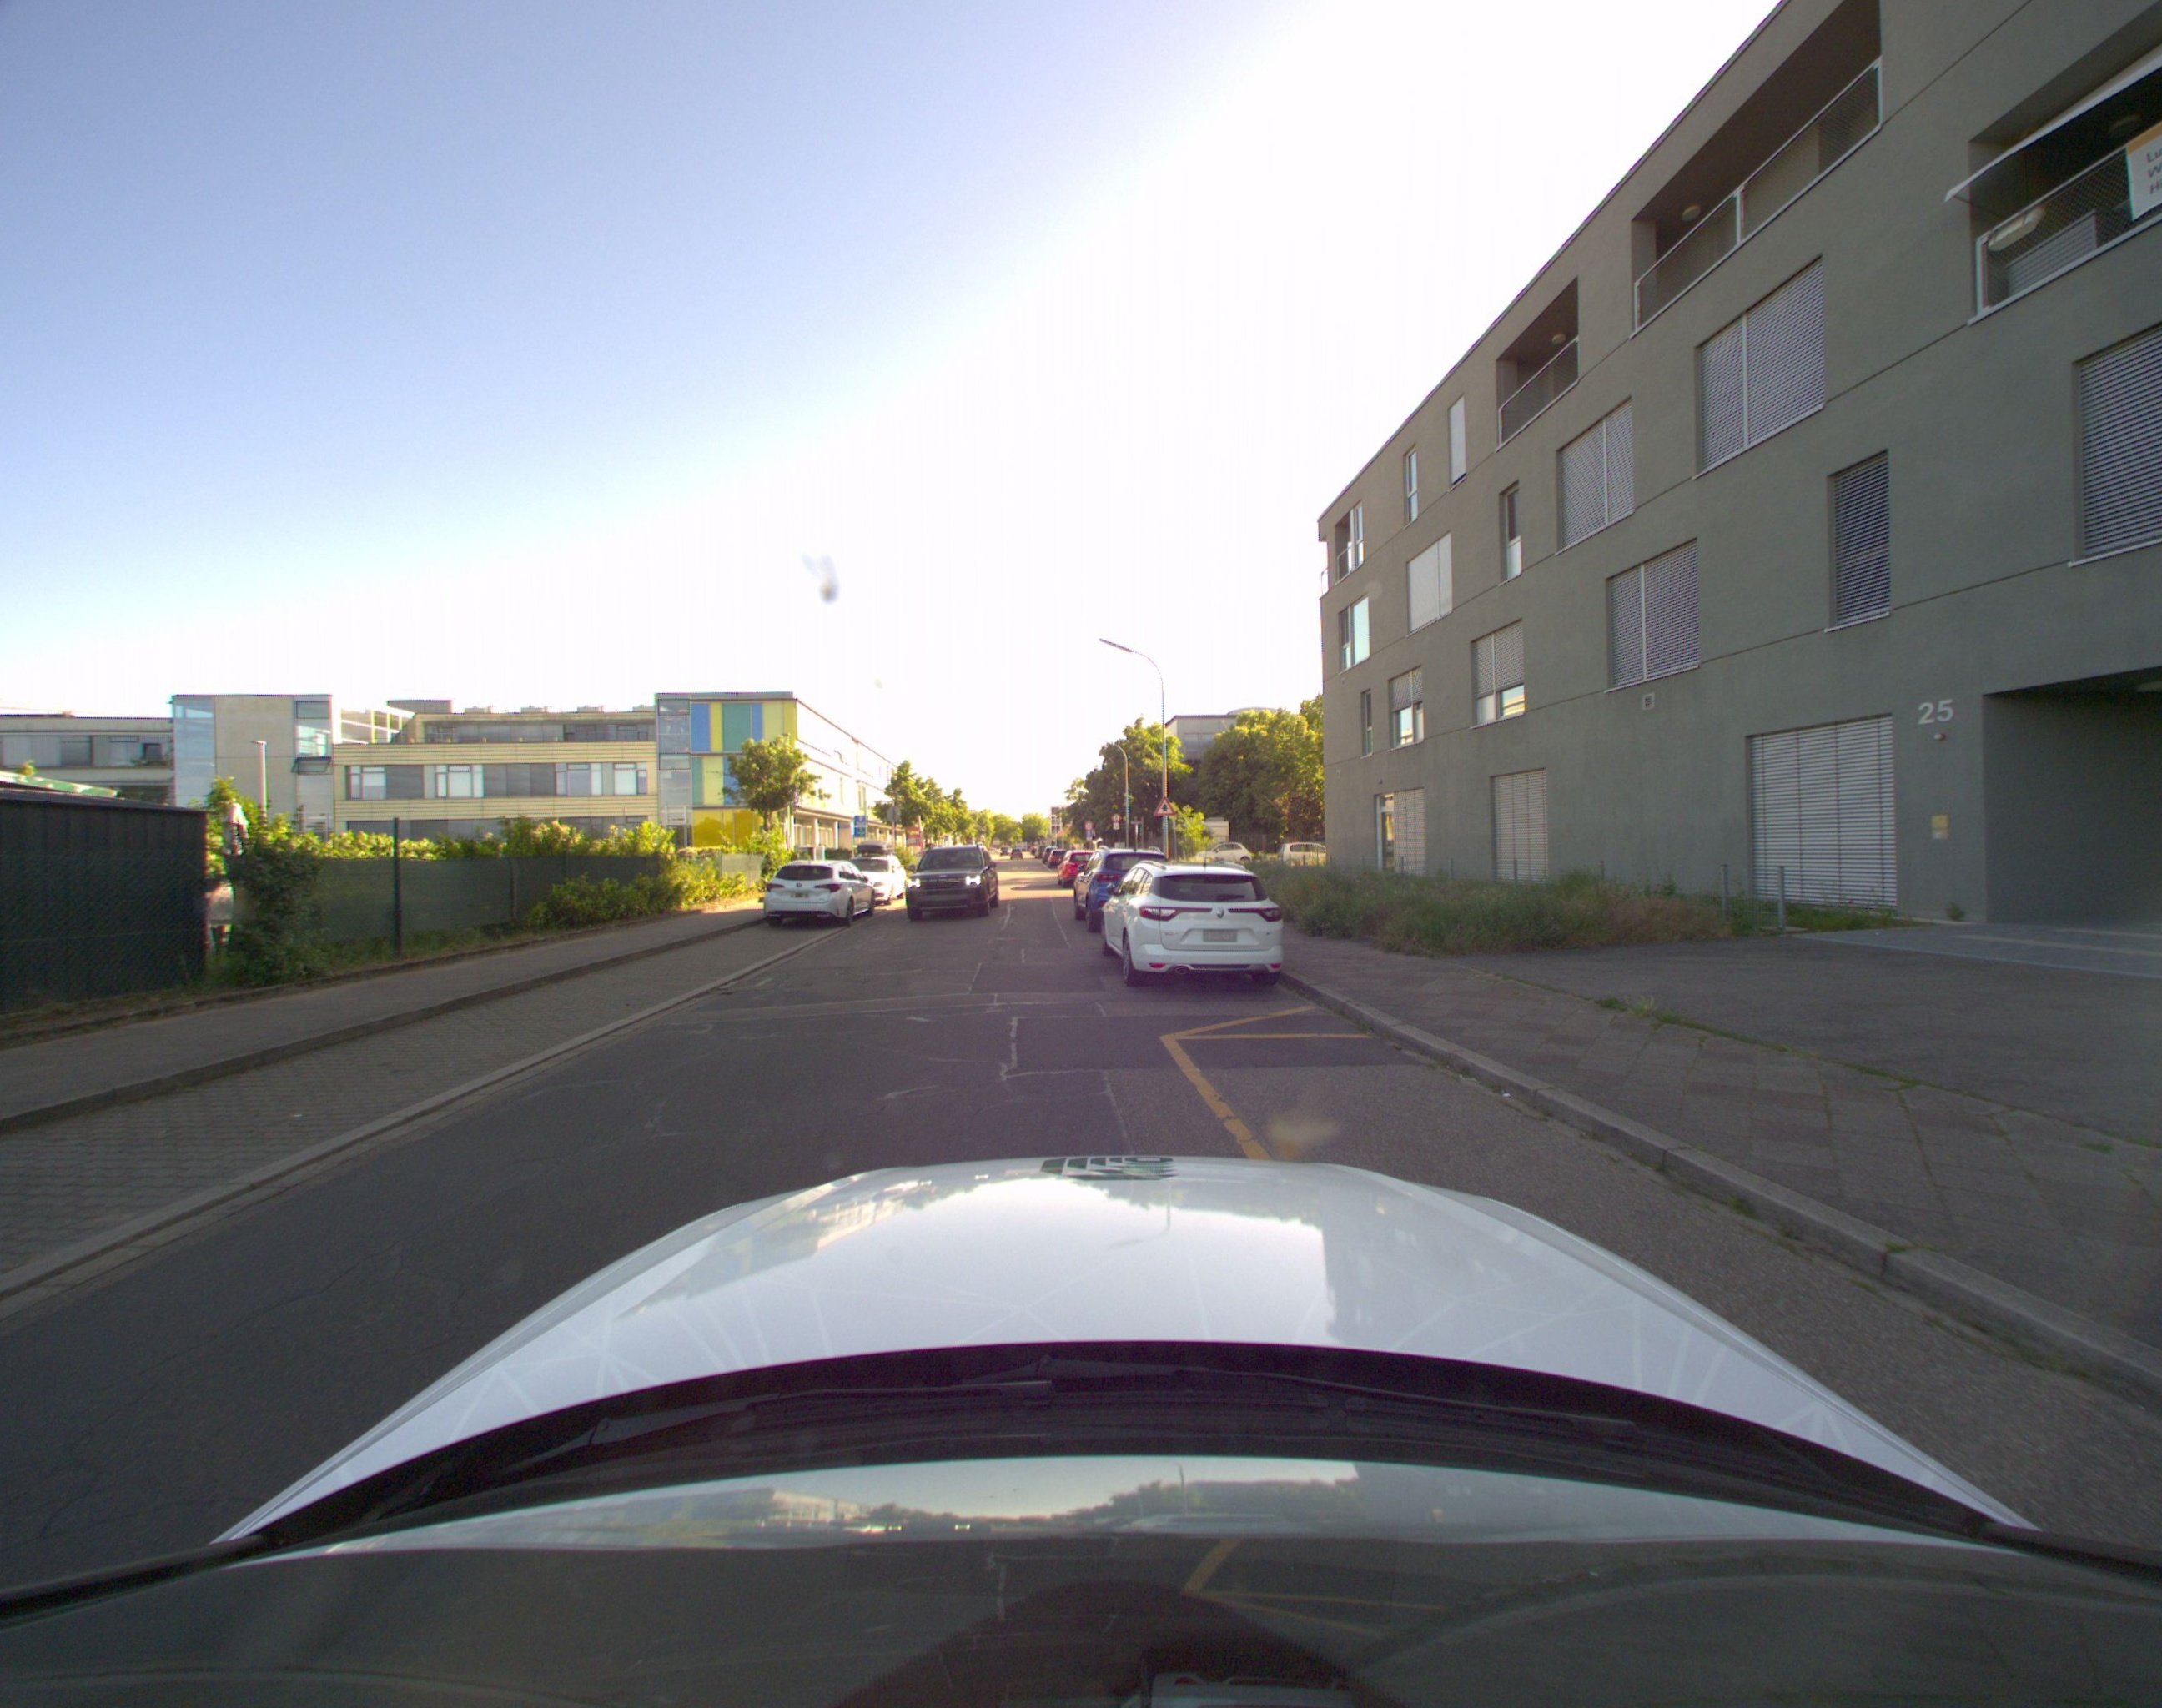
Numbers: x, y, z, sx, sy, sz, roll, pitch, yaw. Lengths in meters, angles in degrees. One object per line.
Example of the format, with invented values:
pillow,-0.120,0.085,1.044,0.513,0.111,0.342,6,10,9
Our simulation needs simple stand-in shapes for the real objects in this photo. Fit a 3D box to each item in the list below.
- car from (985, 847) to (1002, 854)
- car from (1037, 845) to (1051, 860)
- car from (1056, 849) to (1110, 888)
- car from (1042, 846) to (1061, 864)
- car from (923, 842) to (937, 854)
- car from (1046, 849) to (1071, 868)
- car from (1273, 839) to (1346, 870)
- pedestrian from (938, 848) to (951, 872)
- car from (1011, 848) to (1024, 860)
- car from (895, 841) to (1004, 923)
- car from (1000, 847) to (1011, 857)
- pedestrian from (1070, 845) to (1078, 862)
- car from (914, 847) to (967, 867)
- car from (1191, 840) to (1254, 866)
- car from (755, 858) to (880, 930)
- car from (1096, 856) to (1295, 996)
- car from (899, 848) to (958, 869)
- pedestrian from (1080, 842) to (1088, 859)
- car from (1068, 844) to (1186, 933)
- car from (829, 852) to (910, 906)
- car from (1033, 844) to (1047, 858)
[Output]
car,-20.753,-0.936,192.895,3.980,1.519,1.997,-1,-1,-5
car,-4.879,-0.237,106.549,1.729,1.830,3.900,-1,0,-4
car,0.007,0.537,33.433,1.816,1.499,4.444,0,0,-5
car,-3.011,0.054,81.697,1.808,1.666,4.587,0,1,-3
car,-27.275,-1.129,147.375,1.990,2.014,3.993,-1,-1,-5
car,-1.870,0.338,65.721,1.717,1.454,4.644,0,0,-5
car,11.787,0.020,42.160,3.315,1.458,1.715,-2,0,0
pedestrian,-10.273,0.438,61.386,0.856,1.842,0.825,0,0,-3
car,-8.605,0.022,110.857,1.740,1.543,3.994,-1,0,-4
car,-3.172,0.605,20.634,1.937,1.727,4.837,-3,0,-1
car,-14.113,-0.416,152.116,1.952,1.867,5.245,-2,0,-5
pedestrian,-0.756,-0.080,86.353,0.716,1.758,0.883,-4,1,-4
car,-13.249,0.237,76.916,4.733,1.865,1.825,0,0,-5
car,8.646,-0.051,49.929,3.539,1.486,1.598,-2,0,-4
car,-6.031,0.840,19.217,1.743,1.446,4.535,0,0,-4
car,1.258,0.762,10.854,1.741,1.429,4.579,0,0,-4
car,-12.773,0.354,68.429,4.599,1.651,1.867,-1,0,-2
pedestrian,0.288,-0.372,85.262,0.697,1.661,0.750,-3,0,-5
car,0.806,0.607,17.026,1.814,1.599,4.619,0,0,-5
car,-6.538,0.713,25.665,1.693,1.513,4.510,1,0,-5
car,-6.014,-0.449,118.964,1.871,1.978,3.994,-3,1,-5
